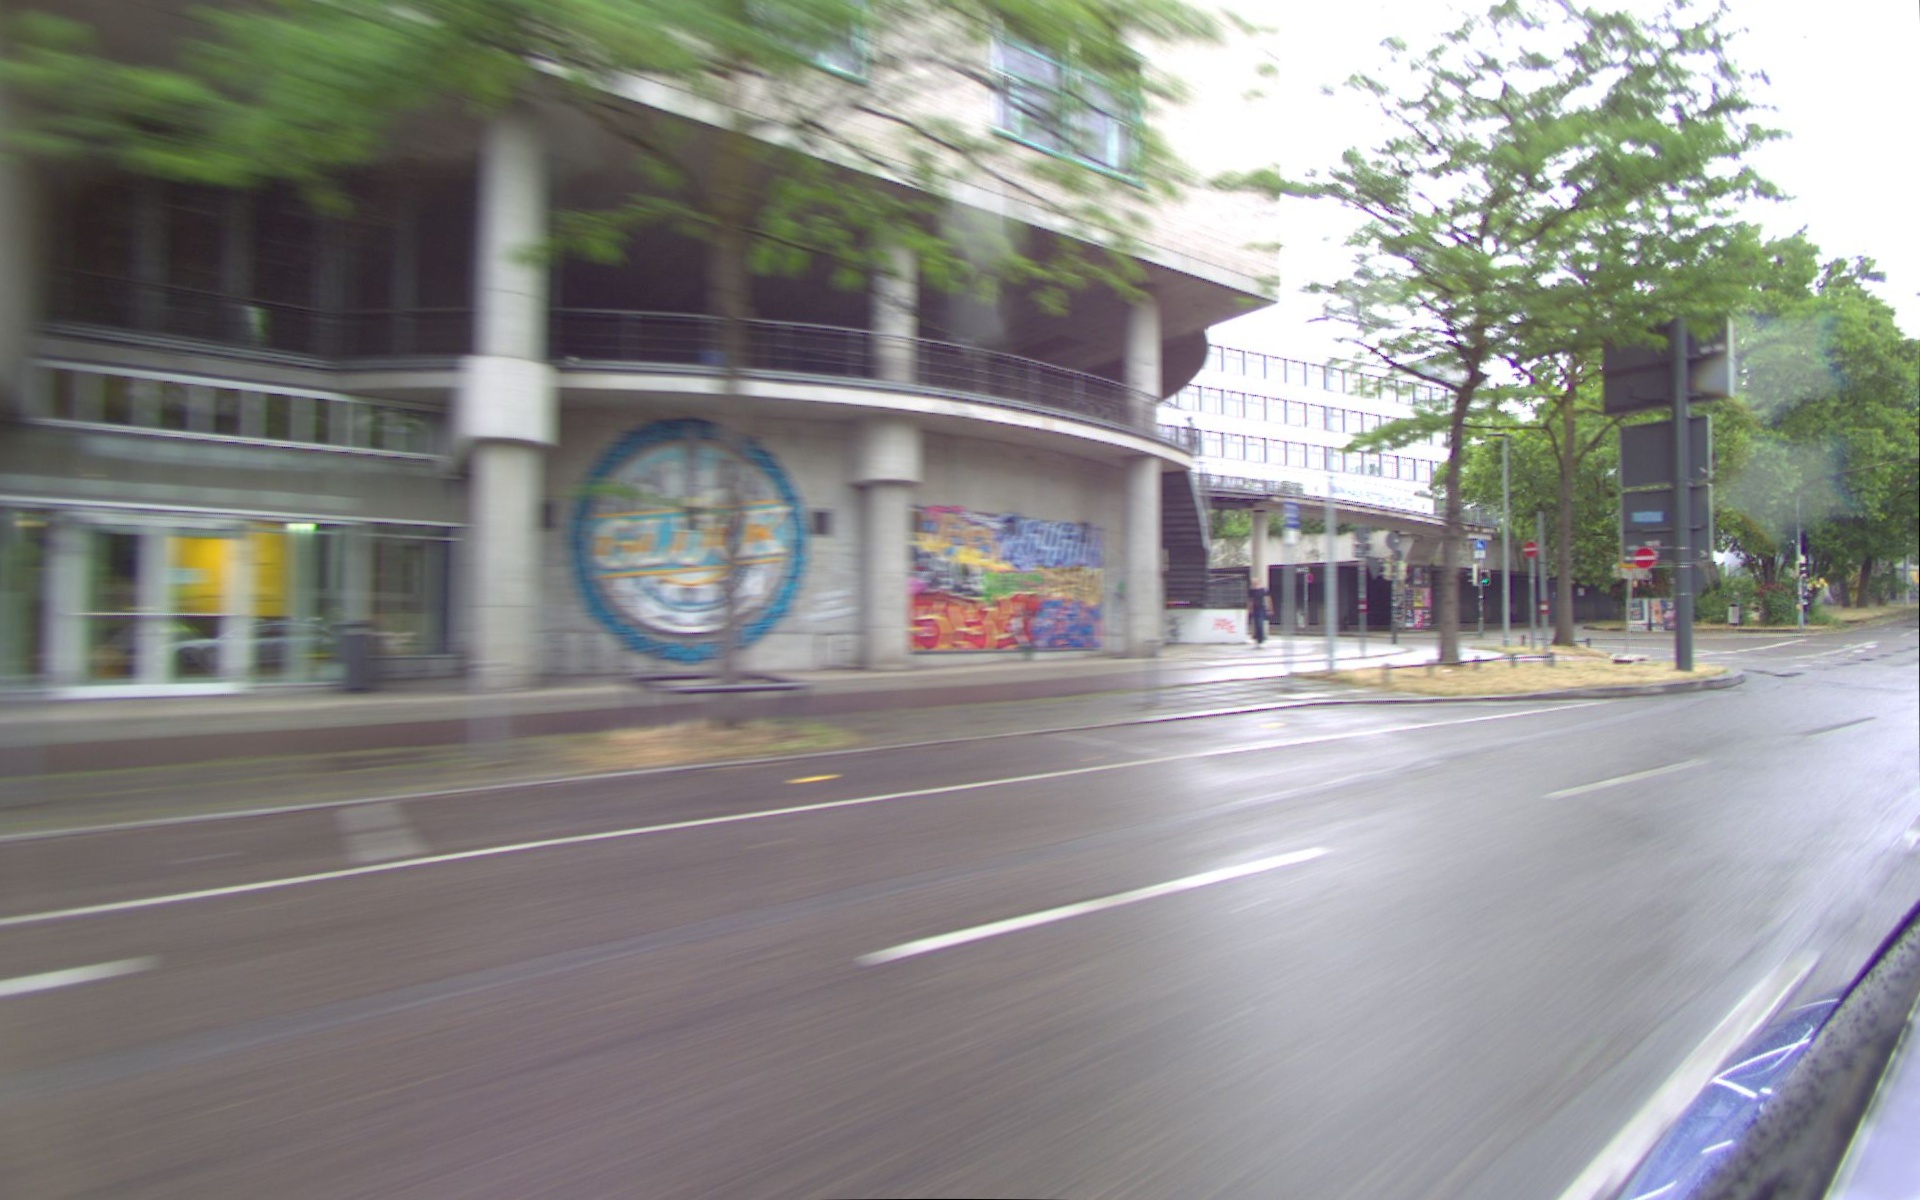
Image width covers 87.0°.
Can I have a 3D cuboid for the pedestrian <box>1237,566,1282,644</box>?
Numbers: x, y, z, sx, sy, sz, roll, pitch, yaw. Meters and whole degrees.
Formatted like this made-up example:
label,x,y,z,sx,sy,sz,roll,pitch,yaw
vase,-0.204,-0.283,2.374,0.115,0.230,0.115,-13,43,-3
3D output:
label,x,y,z,sx,sy,sz,roll,pitch,yaw
pedestrian,8.030,0.138,27.153,0.745,2.039,0.870,0,-1,-40
